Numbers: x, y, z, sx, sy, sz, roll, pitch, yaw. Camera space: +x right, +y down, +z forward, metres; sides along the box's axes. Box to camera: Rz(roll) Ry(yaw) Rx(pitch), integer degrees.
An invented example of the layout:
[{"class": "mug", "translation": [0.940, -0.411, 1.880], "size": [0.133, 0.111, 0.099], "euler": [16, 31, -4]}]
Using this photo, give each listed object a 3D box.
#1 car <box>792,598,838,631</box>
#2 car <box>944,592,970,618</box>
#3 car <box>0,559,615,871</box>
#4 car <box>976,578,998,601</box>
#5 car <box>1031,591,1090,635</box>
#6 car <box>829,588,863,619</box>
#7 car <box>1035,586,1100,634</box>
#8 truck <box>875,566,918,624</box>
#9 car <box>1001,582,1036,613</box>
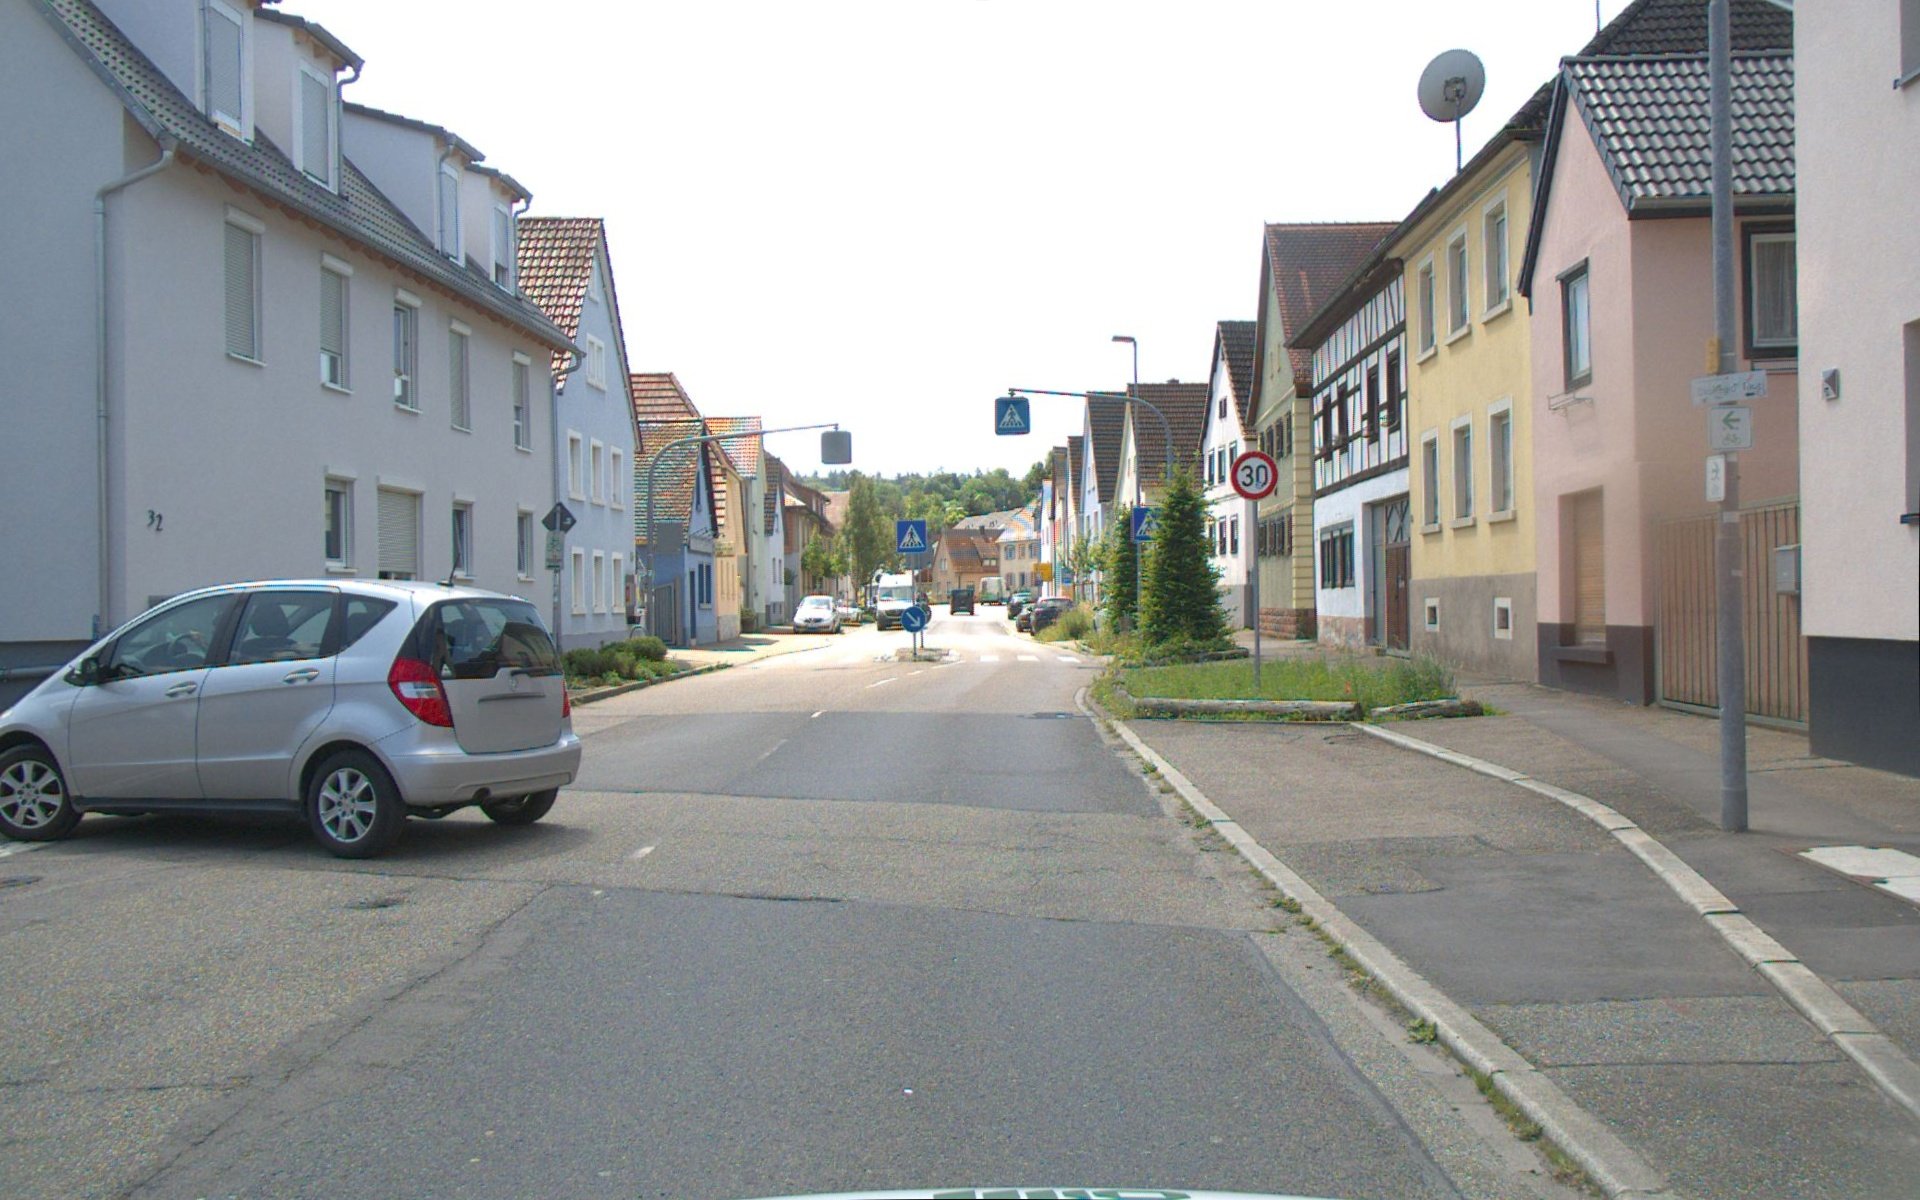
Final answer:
[{"class": "car", "translation": [-6.340, 0.643, 72.041], "size": [1.955, 1.344, 3.704], "euler": [0, -2, -6]}, {"class": "car", "translation": [-0.265, 0.415, 127.401], "size": [1.953, 1.848, 3.998], "euler": [0, -2, -1]}, {"class": "car", "translation": [-4.270, 0.623, 10.543], "size": [3.641, 1.672, 1.816], "euler": [1, -1, 22]}, {"class": "car", "translation": [2.529, -0.977, 156.022], "size": [1.953, 2.049, 3.999], "euler": [0, -2, -1]}, {"class": "car", "translation": [3.694, 0.501, 61.377], "size": [1.953, 1.534, 3.999], "euler": [0, -2, 0]}, {"class": "car", "translation": [-6.356, 0.207, 92.300], "size": [1.633, 1.624, 3.999], "euler": [0, -2, 0]}, {"class": "car", "translation": [3.697, 0.372, 57.352], "size": [1.953, 1.534, 3.999], "euler": [0, -2, 0]}, {"class": "truck", "translation": [-3.046, -0.164, 80.131], "size": [1.953, 2.581, 6.737], "euler": [0, -2, -1]}, {"class": "car", "translation": [3.702, -0.133, 105.014], "size": [1.953, 1.848, 3.998], "euler": [0, -2, -1]}]
